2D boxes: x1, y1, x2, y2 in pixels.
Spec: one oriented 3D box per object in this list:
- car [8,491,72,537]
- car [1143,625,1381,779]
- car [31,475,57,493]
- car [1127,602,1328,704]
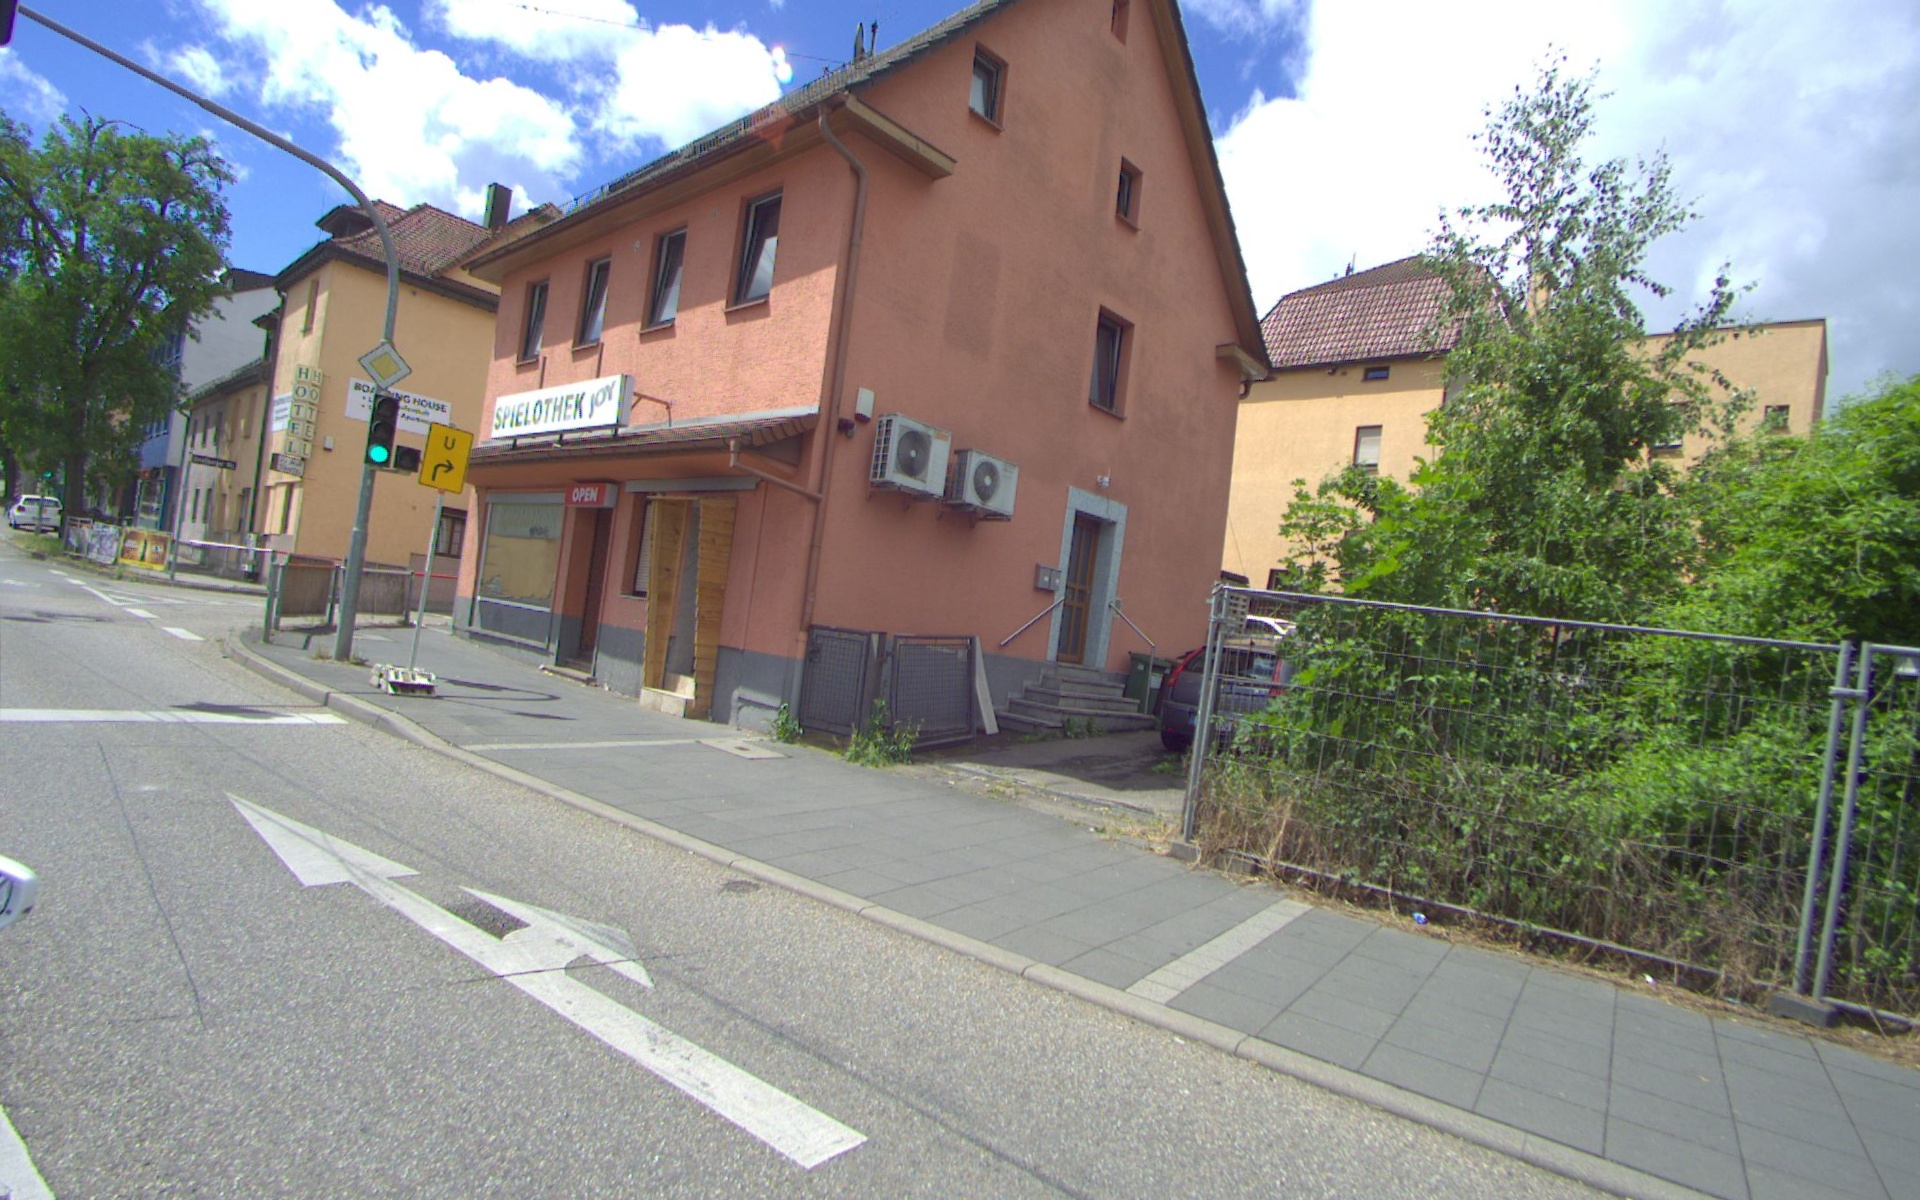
[{"bbox_3d":[-39.479,-3.674,43.125,1.782,1.615,3.950,7,-1,-45],"label":"car"},{"bbox_3d":[3.797,1.194,12.474,1.627,1.516,2.796,7,2,43],"label":"car"},{"bbox_3d":[-110.878,-14.034,121.841,1.985,1.682,3.957,7,-1,-39],"label":"car"},{"bbox_3d":[6.216,1.216,23.640,3.947,1.804,1.990,7,-1,44],"label":"car"}]
